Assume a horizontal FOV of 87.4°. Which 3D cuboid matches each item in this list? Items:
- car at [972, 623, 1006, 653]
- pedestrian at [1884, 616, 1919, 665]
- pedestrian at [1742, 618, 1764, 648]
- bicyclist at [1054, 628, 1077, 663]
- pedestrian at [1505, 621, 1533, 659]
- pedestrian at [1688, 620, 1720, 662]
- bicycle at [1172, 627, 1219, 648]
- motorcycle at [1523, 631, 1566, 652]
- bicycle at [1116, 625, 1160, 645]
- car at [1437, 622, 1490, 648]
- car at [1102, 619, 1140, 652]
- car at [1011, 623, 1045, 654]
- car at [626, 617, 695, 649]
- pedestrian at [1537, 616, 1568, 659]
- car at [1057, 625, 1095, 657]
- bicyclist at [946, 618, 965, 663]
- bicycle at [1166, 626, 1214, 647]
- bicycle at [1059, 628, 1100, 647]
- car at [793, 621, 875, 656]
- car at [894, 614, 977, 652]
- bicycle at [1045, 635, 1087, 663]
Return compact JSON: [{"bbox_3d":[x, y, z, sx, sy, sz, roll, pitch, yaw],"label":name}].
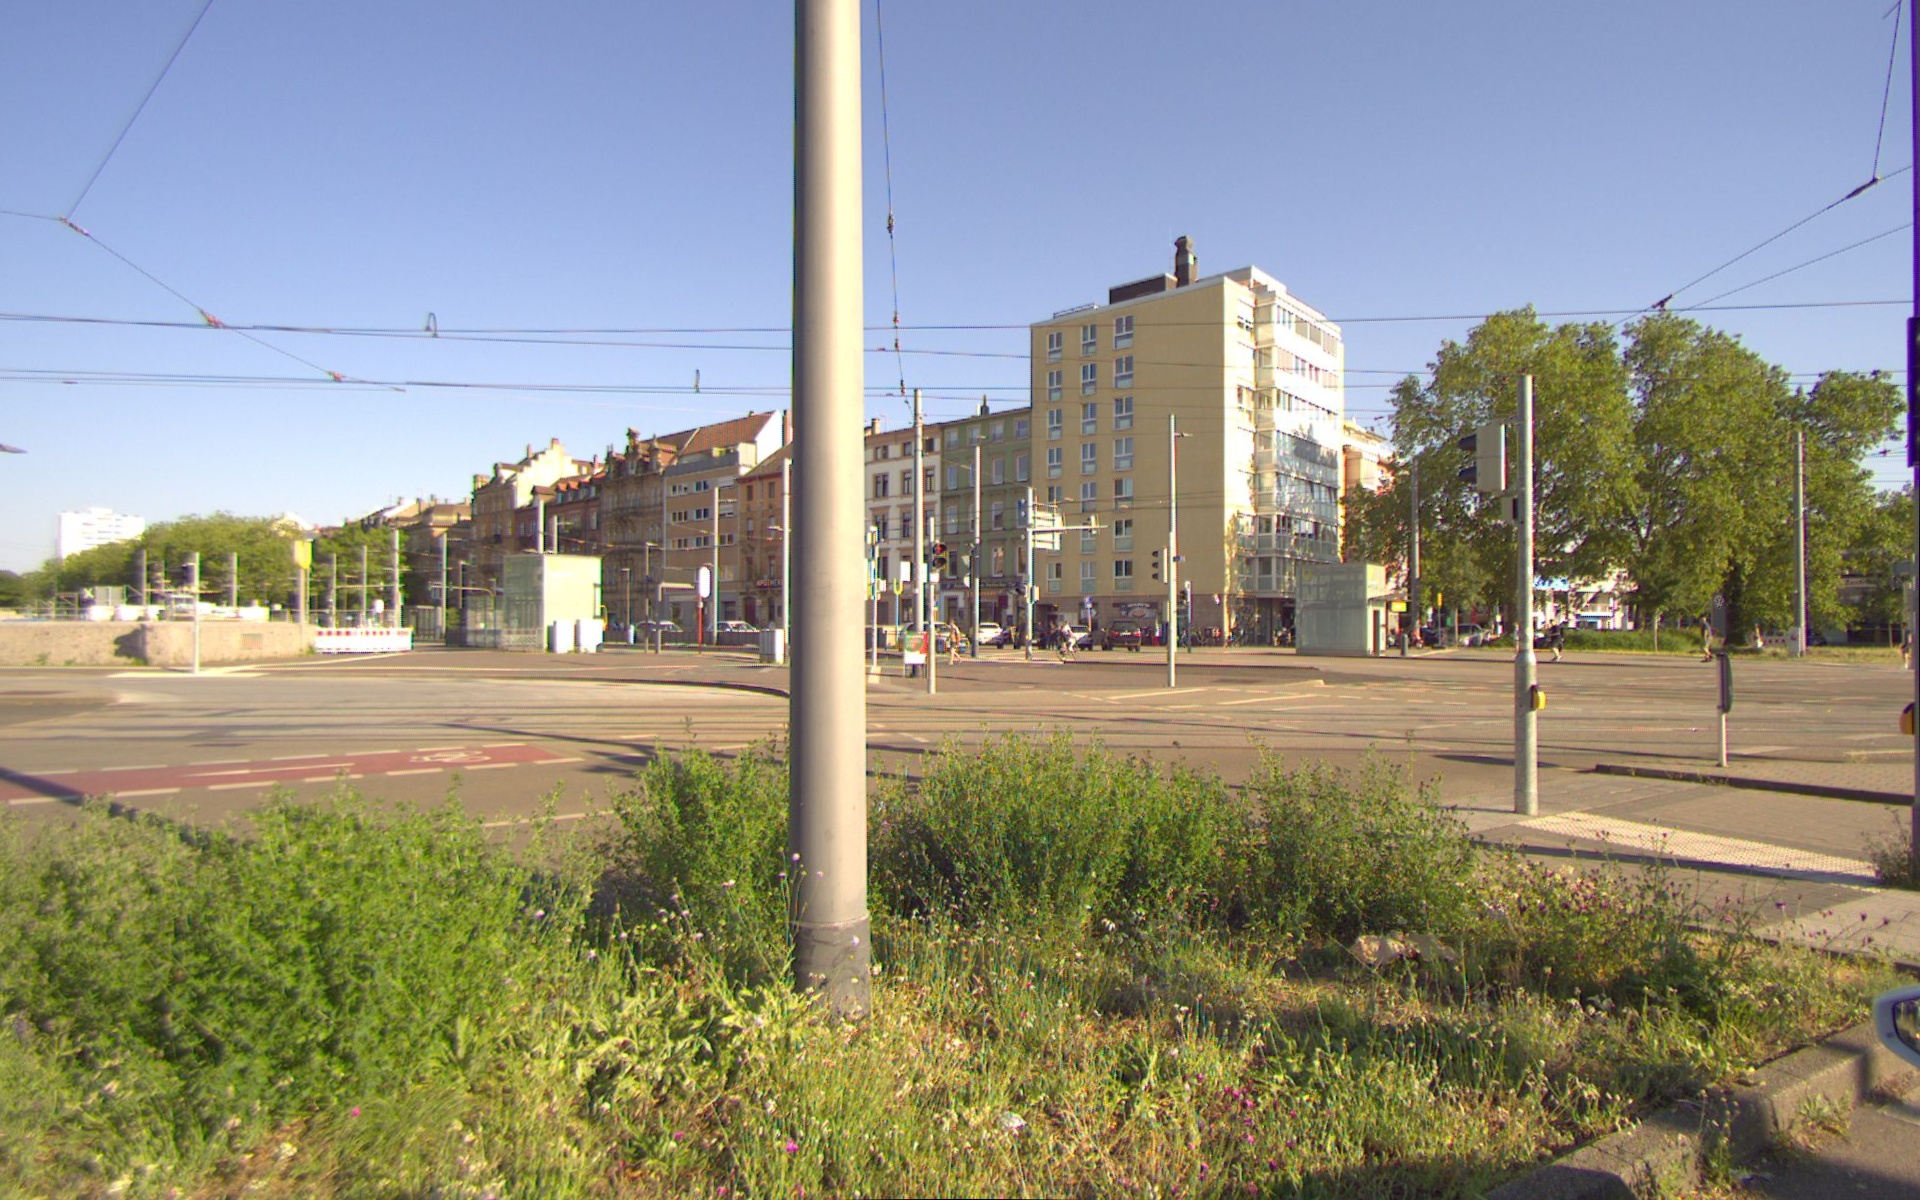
[{"bbox_3d":[1.886,2.397,63.849,1.960,1.728,4.001,2,0,4],"label":"car"},{"bbox_3d":[37.812,1.611,40.307,0.747,1.911,0.793,2,0,-22],"label":"pedestrian"},{"bbox_3d":[46.022,1.933,58.267,0.491,1.716,0.852,2,0,-32],"label":"pedestrian"},{"bbox_3d":[4.269,1.828,40.681,0.617,1.368,0.658,2,0,44],"label":"bicyclist"},{"bbox_3d":[26.375,1.875,47.399,0.747,1.728,0.793,2,0,-22],"label":"pedestrian"},{"bbox_3d":[31.921,1.752,43.097,0.747,1.728,0.793,2,0,-22],"label":"pedestrian"},{"bbox_3d":[14.910,2.367,63.723,3.003,1.167,0.637,1,0,44],"label":"bicycle"},{"bbox_3d":[29.147,2.064,50.109,1.753,0.926,0.676,2,0,41],"label":"motorcycle"},{"bbox_3d":[11.684,2.288,65.962,3.003,1.167,0.637,1,0,44],"label":"bicycle"},{"bbox_3d":[32.011,2.211,63.809,3.973,1.588,1.753,2,0,-44],"label":"car"},{"bbox_3d":[9.161,1.986,57.417,1.684,1.728,4.001,2,0,4],"label":"car"},{"bbox_3d":[4.173,2.321,61.547,1.960,1.728,4.001,2,0,4],"label":"car"},{"bbox_3d":[-19.509,2.132,65.349,4.837,1.849,1.990,2,0,41],"label":"car"},{"bbox_3d":[24.878,1.567,42.187,0.747,1.728,0.793,2,0,-22],"label":"pedestrian"},{"bbox_3d":[6.798,2.388,59.262,1.960,1.728,4.001,2,0,4],"label":"car"},{"bbox_3d":[-0.185,1.563,39.202,0.653,1.706,0.980,2,0,2],"label":"bicyclist"},{"bbox_3d":[14.465,2.270,63.207,3.003,1.167,0.637,1,0,44],"label":"bicycle"},{"bbox_3d":[8.237,2.556,69.104,3.003,1.167,0.637,1,0,44],"label":"bicycle"},{"bbox_3d":[-6.818,2.040,54.076,4.651,1.684,1.777,1,0,41],"label":"car"},{"bbox_3d":[-1.244,1.594,49.115,3.944,1.684,1.776,1,0,44],"label":"car"},{"bbox_3d":[4.315,1.977,40.738,0.617,1.104,1.914,2,0,44],"label":"bicycle"}]
